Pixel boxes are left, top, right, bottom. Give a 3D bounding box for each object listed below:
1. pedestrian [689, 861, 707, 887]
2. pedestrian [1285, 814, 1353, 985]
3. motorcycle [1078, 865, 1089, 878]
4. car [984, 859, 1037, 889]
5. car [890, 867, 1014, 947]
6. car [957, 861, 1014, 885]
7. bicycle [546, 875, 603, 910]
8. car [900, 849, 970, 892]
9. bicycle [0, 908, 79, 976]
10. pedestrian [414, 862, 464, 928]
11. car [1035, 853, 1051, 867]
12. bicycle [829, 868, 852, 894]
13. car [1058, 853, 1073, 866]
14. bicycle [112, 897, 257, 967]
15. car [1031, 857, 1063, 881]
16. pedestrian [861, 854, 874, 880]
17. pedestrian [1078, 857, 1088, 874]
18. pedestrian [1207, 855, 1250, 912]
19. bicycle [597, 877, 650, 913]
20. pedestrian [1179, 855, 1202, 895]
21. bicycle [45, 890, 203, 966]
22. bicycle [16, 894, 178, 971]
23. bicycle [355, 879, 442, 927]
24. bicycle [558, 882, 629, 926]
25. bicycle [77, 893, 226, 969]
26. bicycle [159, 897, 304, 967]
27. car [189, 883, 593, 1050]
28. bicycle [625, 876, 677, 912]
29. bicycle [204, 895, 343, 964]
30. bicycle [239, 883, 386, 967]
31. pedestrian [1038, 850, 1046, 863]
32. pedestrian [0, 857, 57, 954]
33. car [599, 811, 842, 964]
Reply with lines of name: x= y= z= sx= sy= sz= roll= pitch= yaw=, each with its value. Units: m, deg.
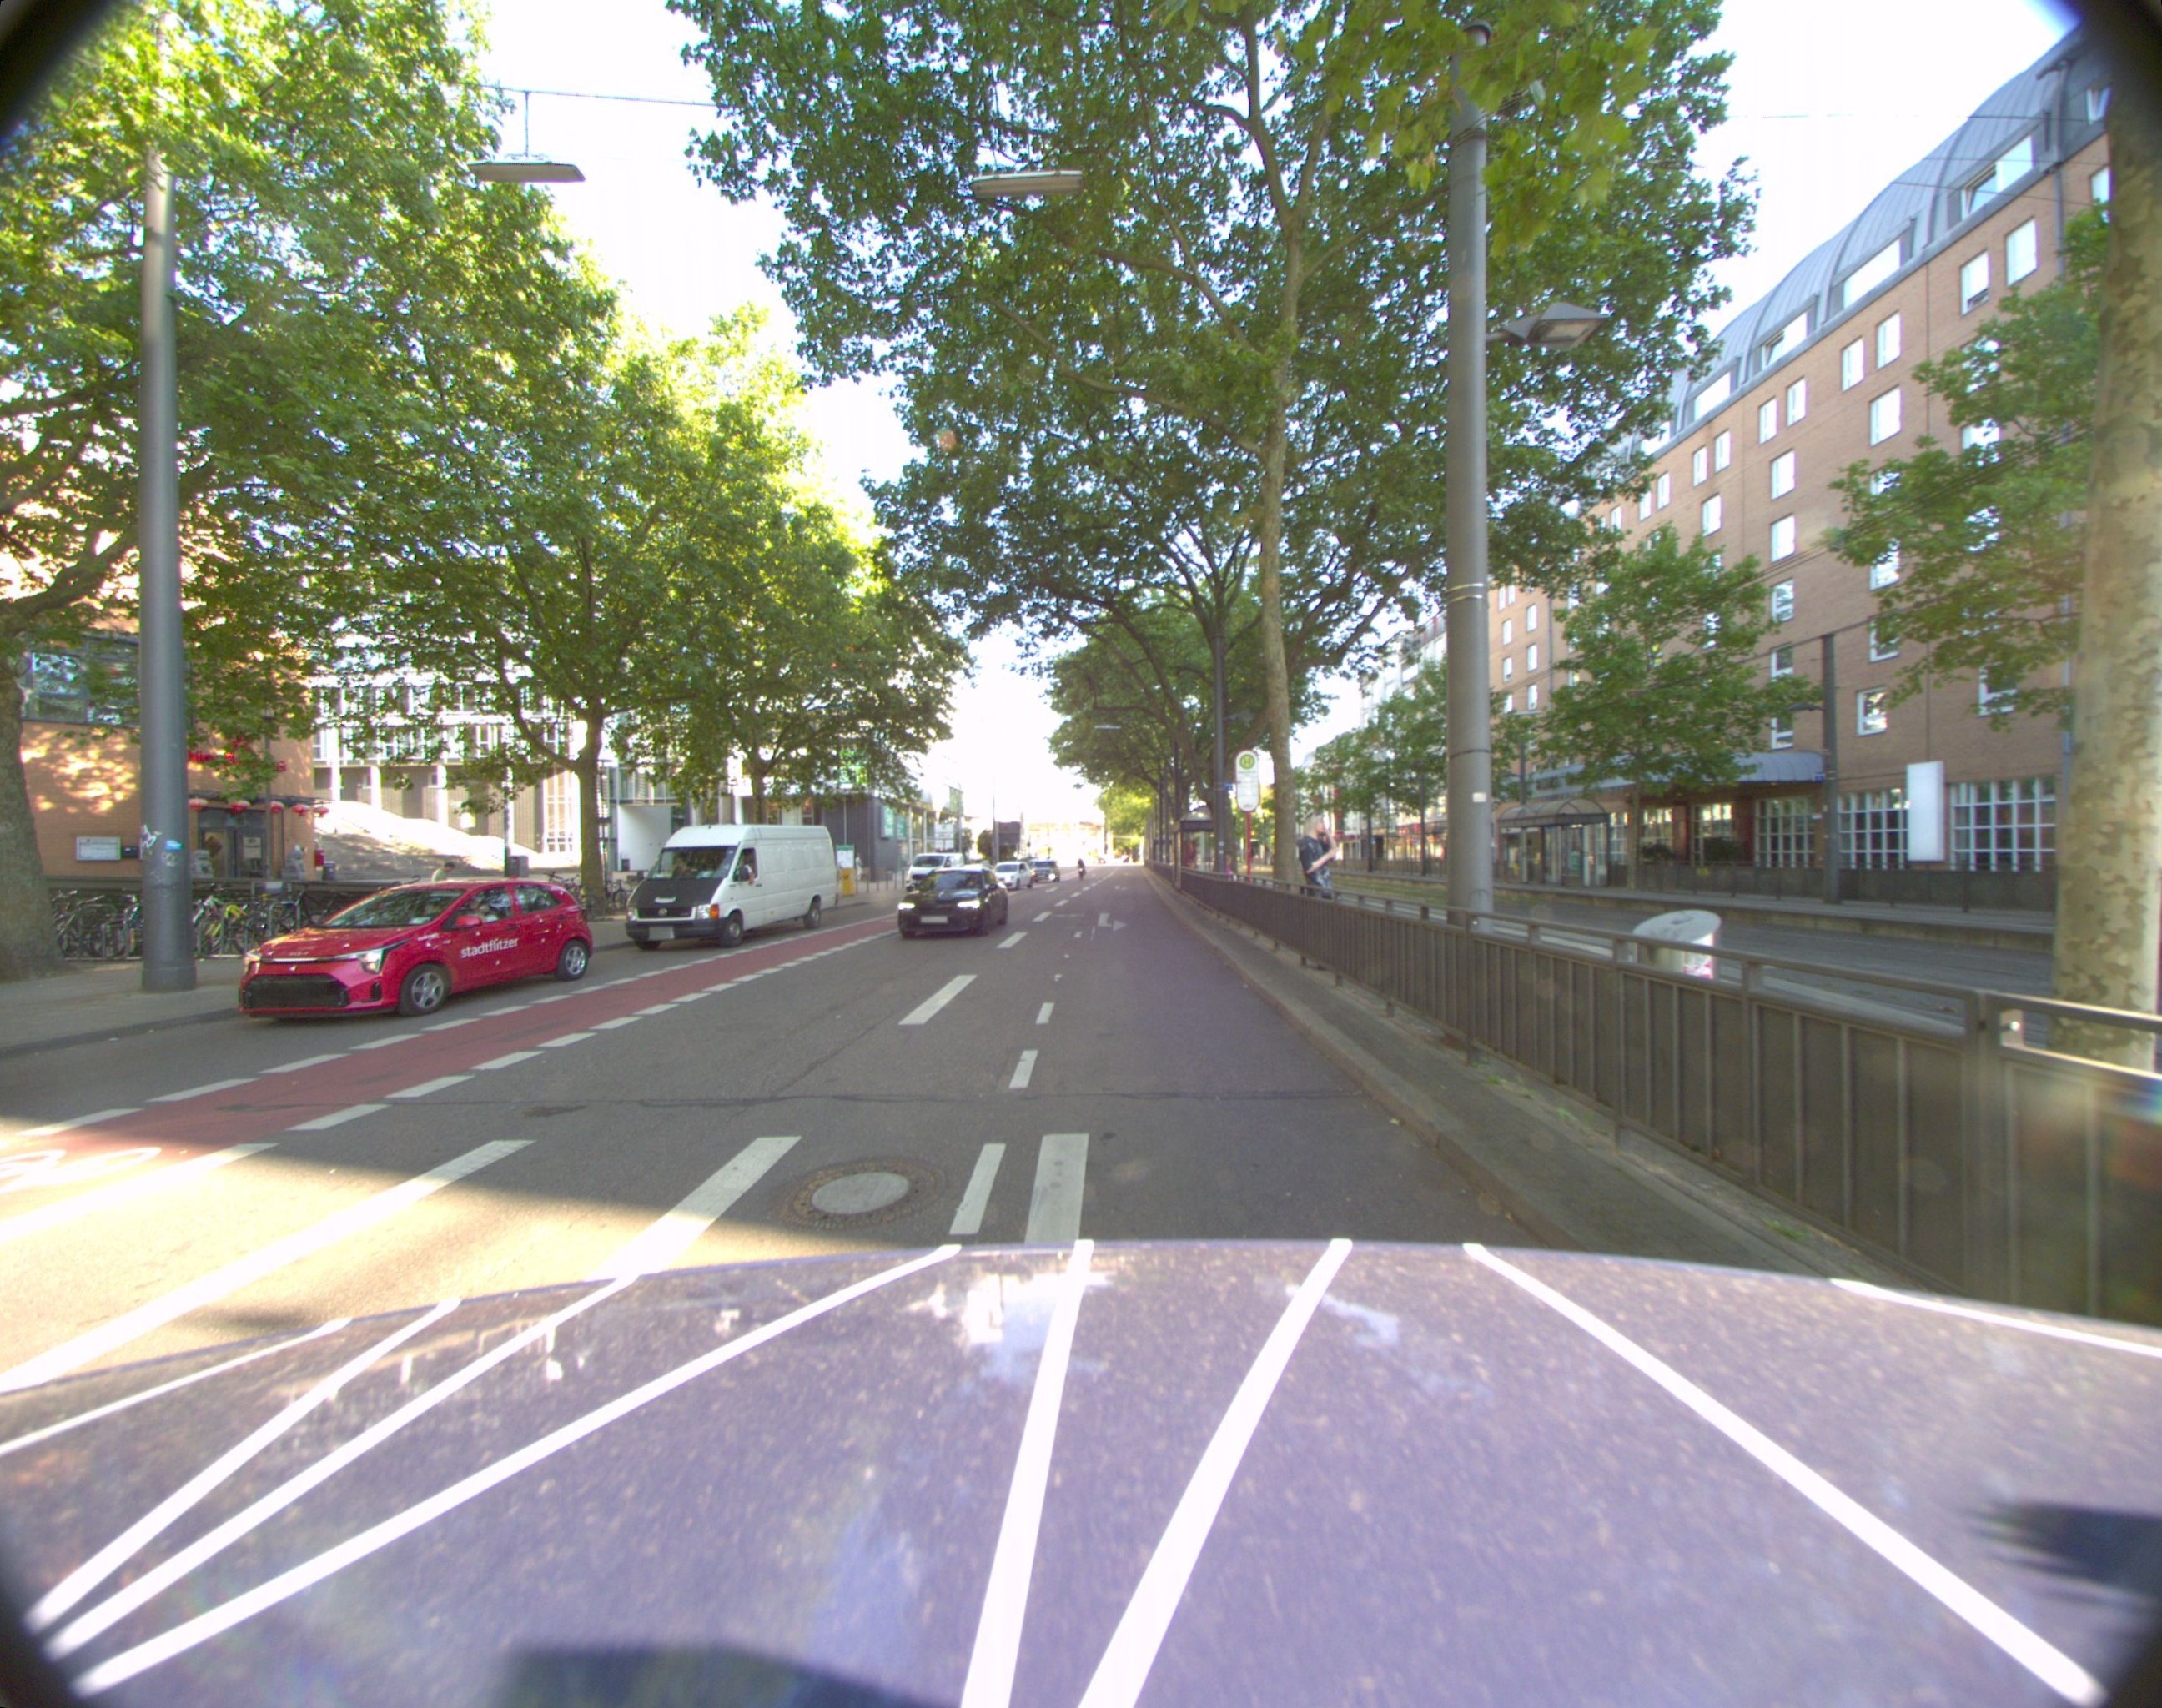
pedestrian: x=-21.430 y=1.135 z=42.519 sx=0.712 sy=1.447 sz=0.601 roll=0 pitch=1 yaw=4
pedestrian: x=2.752 y=0.510 z=8.839 sx=0.511 sy=1.889 sz=0.760 roll=-2 pitch=1 yaw=2
motorcycle: x=0.174 y=1.262 z=54.904 sx=0.667 sy=0.843 sz=2.223 roll=0 pitch=0 yaw=4
car: x=-3.651 y=1.040 z=39.949 sx=1.669 sy=1.455 sz=3.872 roll=0 pitch=0 yaw=12
car: x=-2.714 y=1.069 z=17.001 sx=1.827 sy=1.416 sz=4.346 roll=-2 pitch=0 yaw=2
car: x=-5.938 y=1.160 z=47.823 sx=1.783 sy=1.411 sz=4.028 roll=0 pitch=0 yaw=22
bicycle: x=-16.094 y=1.199 z=24.166 sx=0.597 sy=1.041 sz=1.655 roll=0 pitch=0 yaw=4
car: x=-7.601 y=0.795 z=40.259 sx=2.127 sy=2.121 sz=5.292 roll=0 pitch=0 yaw=6
bicycle: x=-19.892 y=1.633 z=13.927 sx=0.578 sy=1.153 sz=1.770 roll=0 pitch=0 yaw=6
pedestrian: x=-16.315 y=1.028 z=19.328 sx=0.718 sy=1.622 sz=0.636 roll=0 pitch=1 yaw=7
car: x=-5.518 y=0.818 z=110.673 sx=1.999 sy=1.856 sz=3.999 roll=-2 pitch=1 yaw=-1
bicycle: x=-11.399 y=1.272 z=36.017 sx=0.514 sy=1.151 sz=1.540 roll=-1 pitch=0 yaw=3
car: x=-2.262 y=0.820 z=110.996 sx=1.998 sy=1.681 sz=3.999 roll=-2 pitch=1 yaw=1
bicycle: x=-15.319 y=1.299 z=13.053 sx=0.503 sy=1.026 sz=1.655 roll=0 pitch=0 yaw=1
car: x=-2.386 y=1.041 z=53.730 sx=1.785 sy=1.628 sz=4.023 roll=0 pitch=0 yaw=4
pedestrian: x=-14.199 y=0.865 z=50.512 sx=0.541 sy=1.666 sz=0.721 roll=-1 pitch=1 yaw=-39
pedestrian: x=0.171 y=0.803 z=54.703 sx=0.665 sy=1.218 sz=0.775 roll=0 pitch=1 yaw=4
pedestrian: x=3.780 y=0.746 z=19.464 sx=0.979 sy=1.392 sz=0.664 roll=-2 pitch=1 yaw=6
bicycle: x=-14.735 y=1.303 z=24.531 sx=0.597 sy=1.041 sz=1.655 roll=0 pitch=0 yaw=4
pedestrian: x=3.993 y=0.760 z=27.772 sx=0.735 sy=1.379 sz=0.640 roll=-2 pitch=1 yaw=6
bicycle: x=-16.404 y=1.234 z=13.093 sx=0.479 sy=1.153 sz=1.694 roll=0 pitch=0 yaw=5
bicycle: x=-16.924 y=1.313 z=13.137 sx=0.479 sy=1.153 sz=1.694 roll=0 pitch=0 yaw=5
bicycle: x=-17.722 y=1.250 z=19.789 sx=0.596 sy=1.119 sz=1.656 roll=0 pitch=0 yaw=9
bicycle: x=-12.797 y=1.301 z=19.987 sx=0.596 sy=1.041 sz=1.656 roll=0 pitch=0 yaw=9
bicycle: x=-15.902 y=1.289 z=13.065 sx=0.503 sy=1.130 sz=1.655 roll=0 pitch=0 yaw=1
bicycle: x=-14.560 y=1.311 z=13.092 sx=0.597 sy=1.026 sz=1.655 roll=0 pitch=0 yaw=1
car: x=-7.954 y=1.177 z=9.292 sx=1.562 sy=1.455 sz=3.621 roll=-2 pitch=0 yaw=1
bicycle: x=-13.809 y=1.266 z=24.448 sx=0.597 sy=1.041 sz=1.655 roll=0 pitch=0 yaw=4
bicycle: x=-13.841 y=1.265 z=13.095 sx=0.597 sy=1.026 sz=1.655 roll=0 pitch=0 yaw=1
bicycle: x=-13.173 y=1.177 z=13.111 sx=0.597 sy=1.257 sz=1.876 roll=0 pitch=0 yaw=1
pedestrian: x=-4.876 y=0.322 z=95.262 sx=0.753 sy=1.565 sz=0.912 roll=-1 pitch=1 yaw=6
pedestrian: x=-19.915 y=0.941 z=13.969 sx=0.788 sy=1.747 sz=1.020 roll=0 pitch=1 yaw=6
car: x=-7.567 y=0.604 z=17.051 sx=1.998 sy=2.708 sz=6.562 roll=-2 pitch=0 yaw=2
